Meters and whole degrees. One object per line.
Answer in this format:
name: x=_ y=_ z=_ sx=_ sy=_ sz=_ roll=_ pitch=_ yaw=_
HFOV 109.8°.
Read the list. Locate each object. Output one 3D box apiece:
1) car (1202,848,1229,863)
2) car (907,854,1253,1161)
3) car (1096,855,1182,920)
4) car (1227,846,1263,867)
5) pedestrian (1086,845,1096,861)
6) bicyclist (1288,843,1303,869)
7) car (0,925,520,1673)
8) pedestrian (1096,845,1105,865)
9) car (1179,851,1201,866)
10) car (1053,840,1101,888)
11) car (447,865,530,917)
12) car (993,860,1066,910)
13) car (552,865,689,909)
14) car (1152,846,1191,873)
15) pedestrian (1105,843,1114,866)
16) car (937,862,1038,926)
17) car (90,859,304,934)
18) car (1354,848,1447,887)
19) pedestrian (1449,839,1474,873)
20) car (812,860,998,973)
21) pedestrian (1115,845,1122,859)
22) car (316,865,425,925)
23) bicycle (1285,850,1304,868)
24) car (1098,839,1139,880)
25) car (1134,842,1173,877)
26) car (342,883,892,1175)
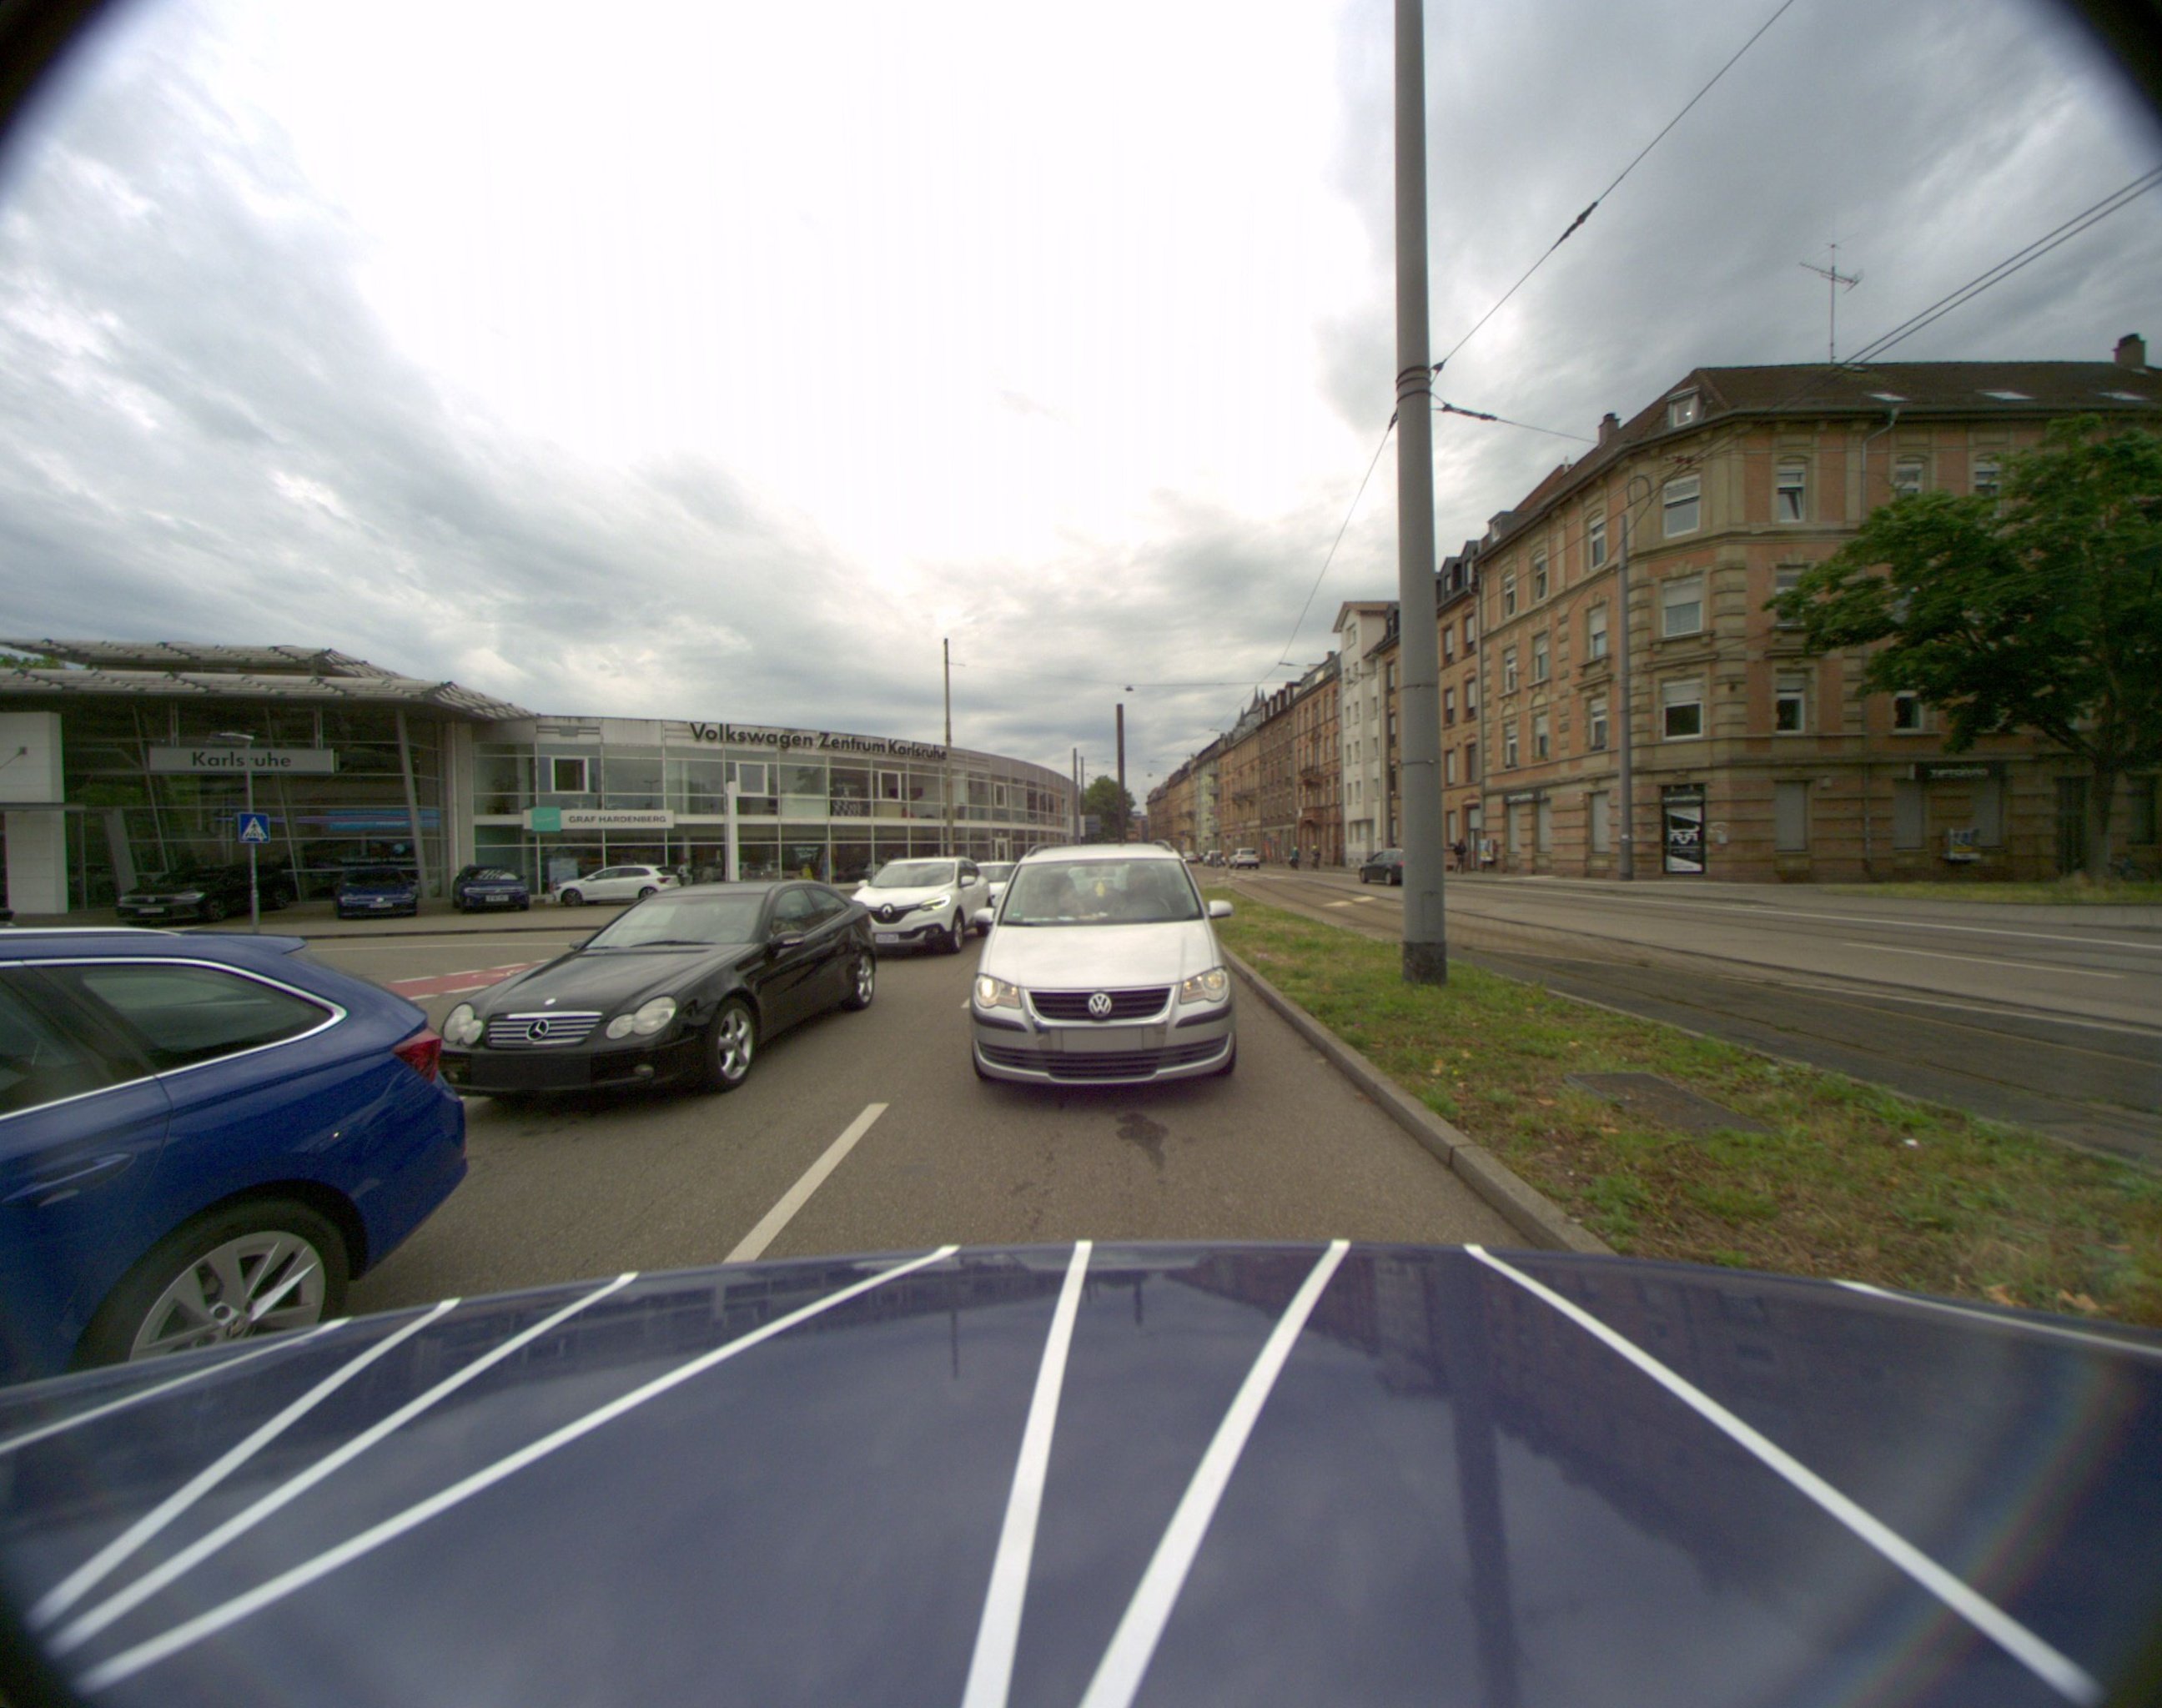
car: x=13.056 y=0.101 z=73.939 sx=1.815 sy=1.423 sz=4.016 roll=-1 pitch=1 yaw=-1
car: x=0.052 y=0.854 z=6.726 sx=1.863 sy=1.609 sz=5.062 roll=-2 pitch=1 yaw=1
car: x=1.493 y=0.781 z=19.615 sx=1.972 sy=1.447 sz=4.194 roll=-1 pitch=0 yaw=4
car: x=13.089 y=0.176 z=60.897 sx=1.835 sy=1.635 sz=4.230 roll=-1 pitch=1 yaw=-1
pedestrian: x=1.247 y=-0.121 z=95.566 sx=1.177 sy=2.002 sz=1.032 roll=-1 pitch=1 yaw=1
bicyclist: x=15.989 y=0.136 z=56.709 sx=0.824 sy=1.856 sz=0.924 roll=-1 pitch=1 yaw=1
car: x=-3.194 y=1.047 z=0.666 sx=1.770 sy=1.428 sz=4.757 roll=-2 pitch=1 yaw=1
pedestrian: x=1.659 y=0.111 z=64.896 sx=0.663 sy=1.671 sz=0.650 roll=-1 pitch=1 yaw=1
car: x=12.936 y=0.513 z=90.407 sx=1.896 sy=1.693 sz=4.232 roll=-1 pitch=1 yaw=-1
car: x=-0.120 y=0.406 z=34.440 sx=1.998 sy=2.002 sz=4.000 roll=-1 pitch=1 yaw=1
car: x=-19.942 y=1.164 z=25.516 sx=1.795 sy=1.552 sz=4.023 roll=-2 pitch=1 yaw=-44
car: x=-1.626 y=0.977 z=25.348 sx=1.907 sy=1.428 sz=3.973 roll=-1 pitch=0 yaw=4
car: x=-16.854 y=1.169 z=27.967 sx=3.907 sy=1.433 sz=1.731 roll=-1 pitch=1 yaw=-9
car: x=6.148 y=0.318 z=52.219 sx=2.372 sy=1.744 sz=5.130 roll=-1 pitch=0 yaw=4
pedestrian: x=2.377 y=0.051 z=63.740 sx=0.652 sy=1.904 sz=0.602 roll=-1 pitch=1 yaw=1
car: x=-2.332 y=0.969 z=19.951 sx=1.907 sy=1.428 sz=3.973 roll=-1 pitch=0 yaw=4
car: x=-26.516 y=1.178 z=23.106 sx=1.958 sy=1.635 sz=4.664 roll=-1 pitch=5 yaw=-17
car: x=12.985 y=0.488 z=31.211 sx=1.888 sy=1.461 sz=4.463 roll=-1 pitch=1 yaw=-1
pedestrian: x=18.904 y=0.115 z=37.803 sx=0.812 sy=1.666 sz=0.798 roll=-1 pitch=1 yaw=-3
car: x=-2.803 y=0.934 z=13.163 sx=1.982 sy=1.550 sz=4.146 roll=-1 pitch=1 yaw=4
pedestrian: x=5.570 y=-0.322 z=113.086 sx=1.004 sy=2.002 sz=0.908 roll=-1 pitch=1 yaw=1
car: x=-22.261 y=1.207 z=23.989 sx=1.961 sy=1.517 sz=4.217 roll=-2 pitch=2 yaw=-36
bicycle: x=16.005 y=0.374 z=56.955 sx=0.798 sy=1.285 sz=2.411 roll=-1 pitch=1 yaw=1
car: x=1.925 y=0.270 z=39.723 sx=1.998 sy=2.002 sz=4.000 roll=-1 pitch=1 yaw=1
car: x=4.246 y=0.292 z=45.231 sx=1.998 sy=2.002 sz=4.000 roll=-1 pitch=1 yaw=1
car: x=-3.141 y=1.070 z=6.444 sx=1.769 sy=1.362 sz=4.422 roll=-2 pitch=1 yaw=2
